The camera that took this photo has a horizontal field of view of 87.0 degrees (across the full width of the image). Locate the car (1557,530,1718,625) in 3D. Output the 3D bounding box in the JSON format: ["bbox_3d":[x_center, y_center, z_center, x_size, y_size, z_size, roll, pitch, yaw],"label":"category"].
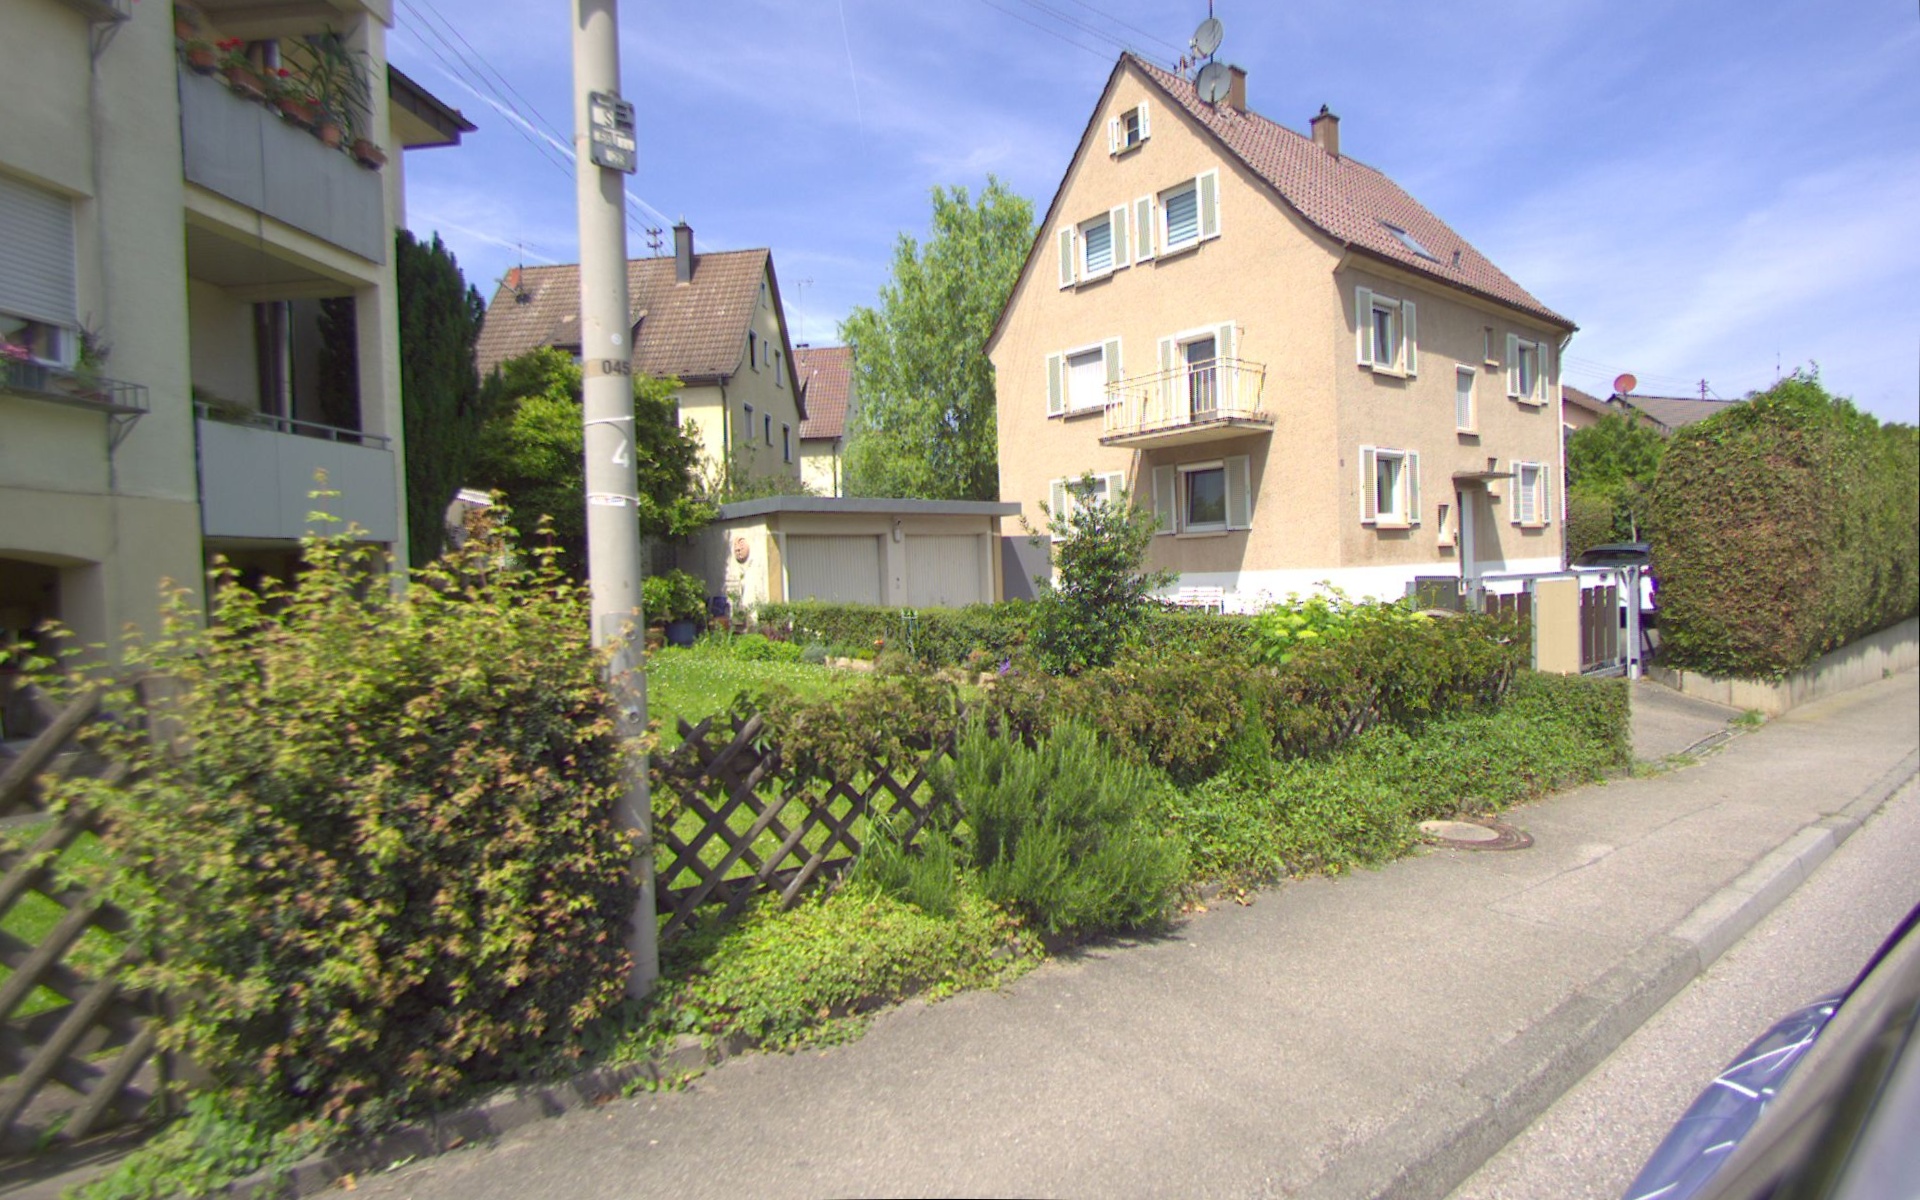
[{"bbox_3d":[12.584,-0.466,18.726,3.499,1.500,1.608,-5,4,-41],"label":"car"}]
